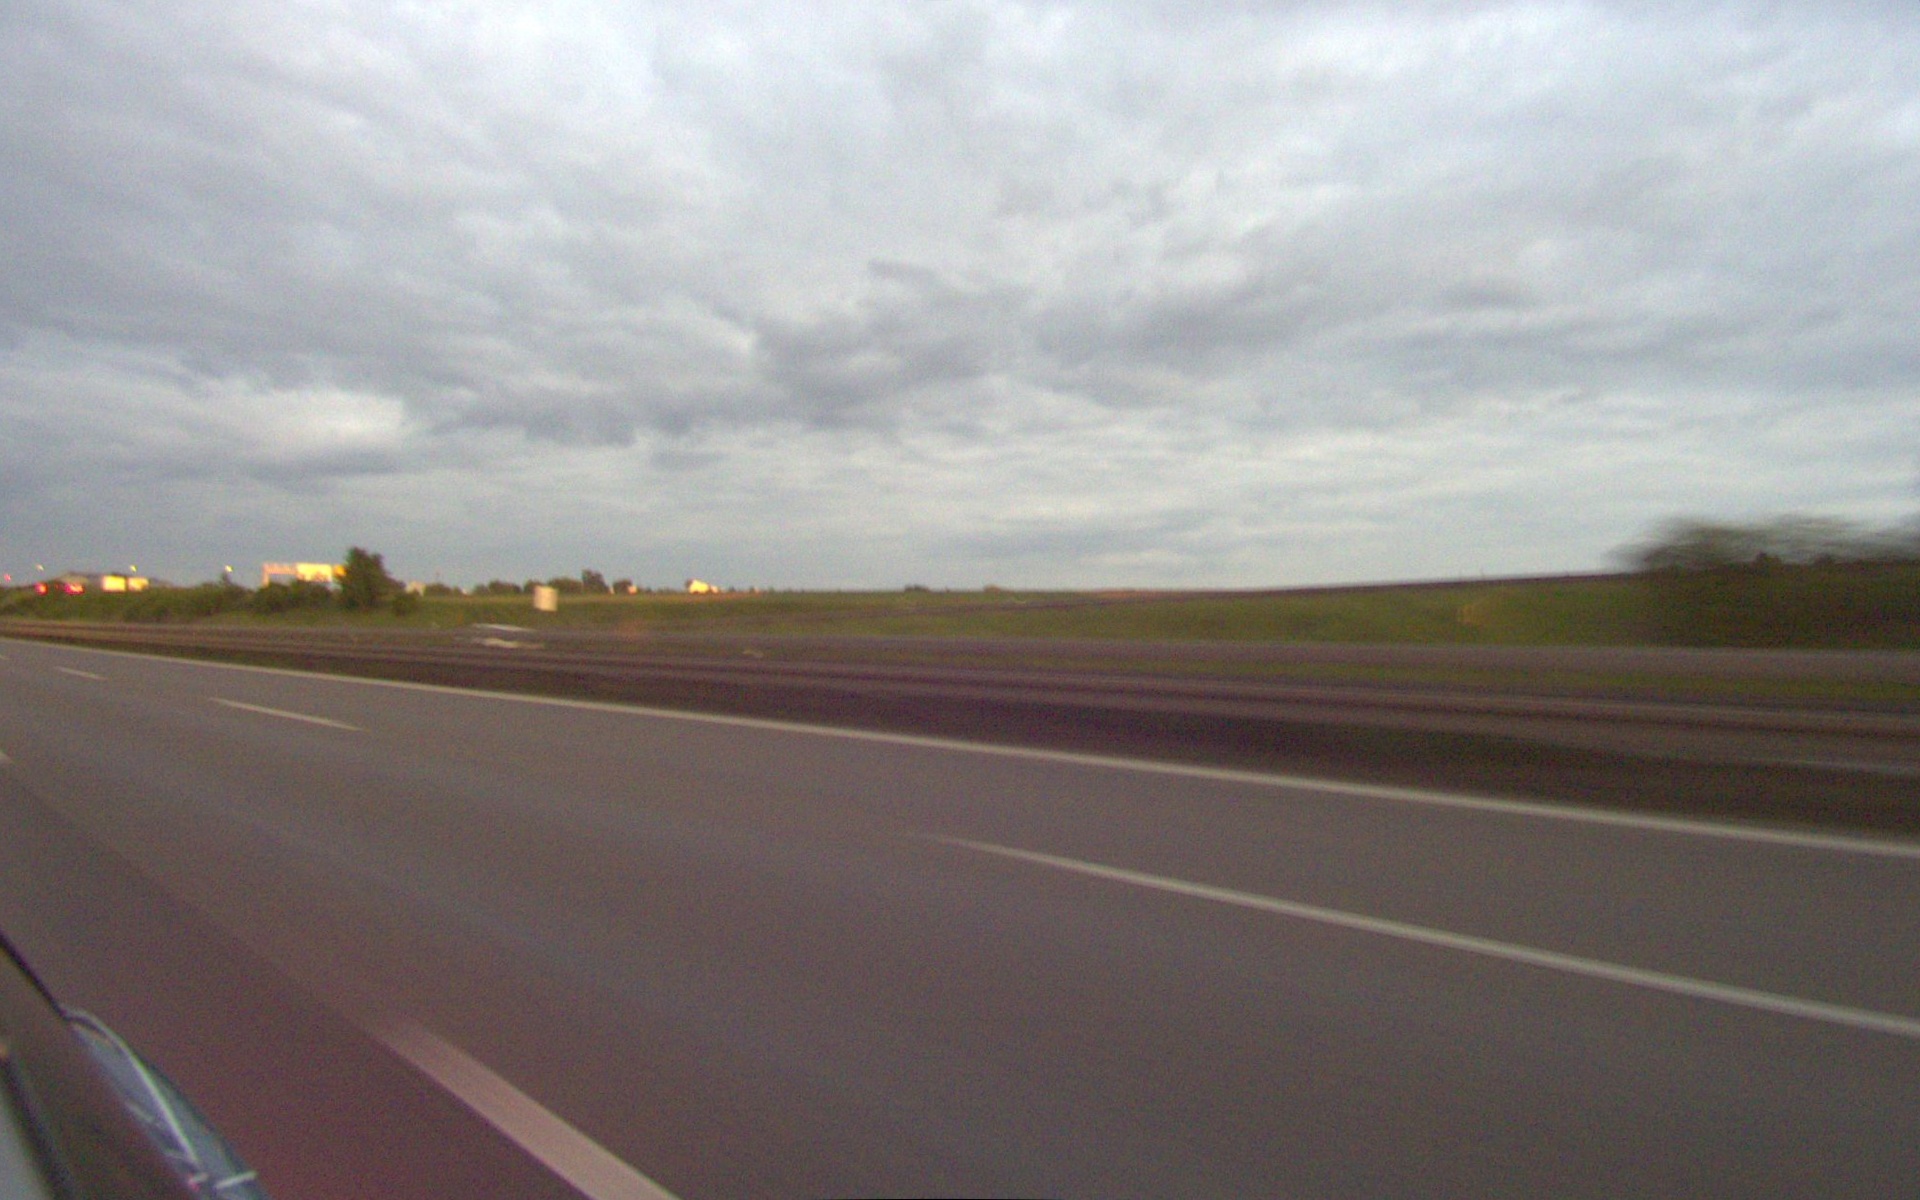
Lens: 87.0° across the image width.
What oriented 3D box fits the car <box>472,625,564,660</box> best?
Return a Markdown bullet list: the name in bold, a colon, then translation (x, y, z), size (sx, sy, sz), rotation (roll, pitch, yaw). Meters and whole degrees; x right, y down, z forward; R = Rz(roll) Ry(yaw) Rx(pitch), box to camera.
- **car**: translation (-18.608, 1.752, 42.532), size (4.173, 1.360, 1.973), rotation (-1, -2, 41)
